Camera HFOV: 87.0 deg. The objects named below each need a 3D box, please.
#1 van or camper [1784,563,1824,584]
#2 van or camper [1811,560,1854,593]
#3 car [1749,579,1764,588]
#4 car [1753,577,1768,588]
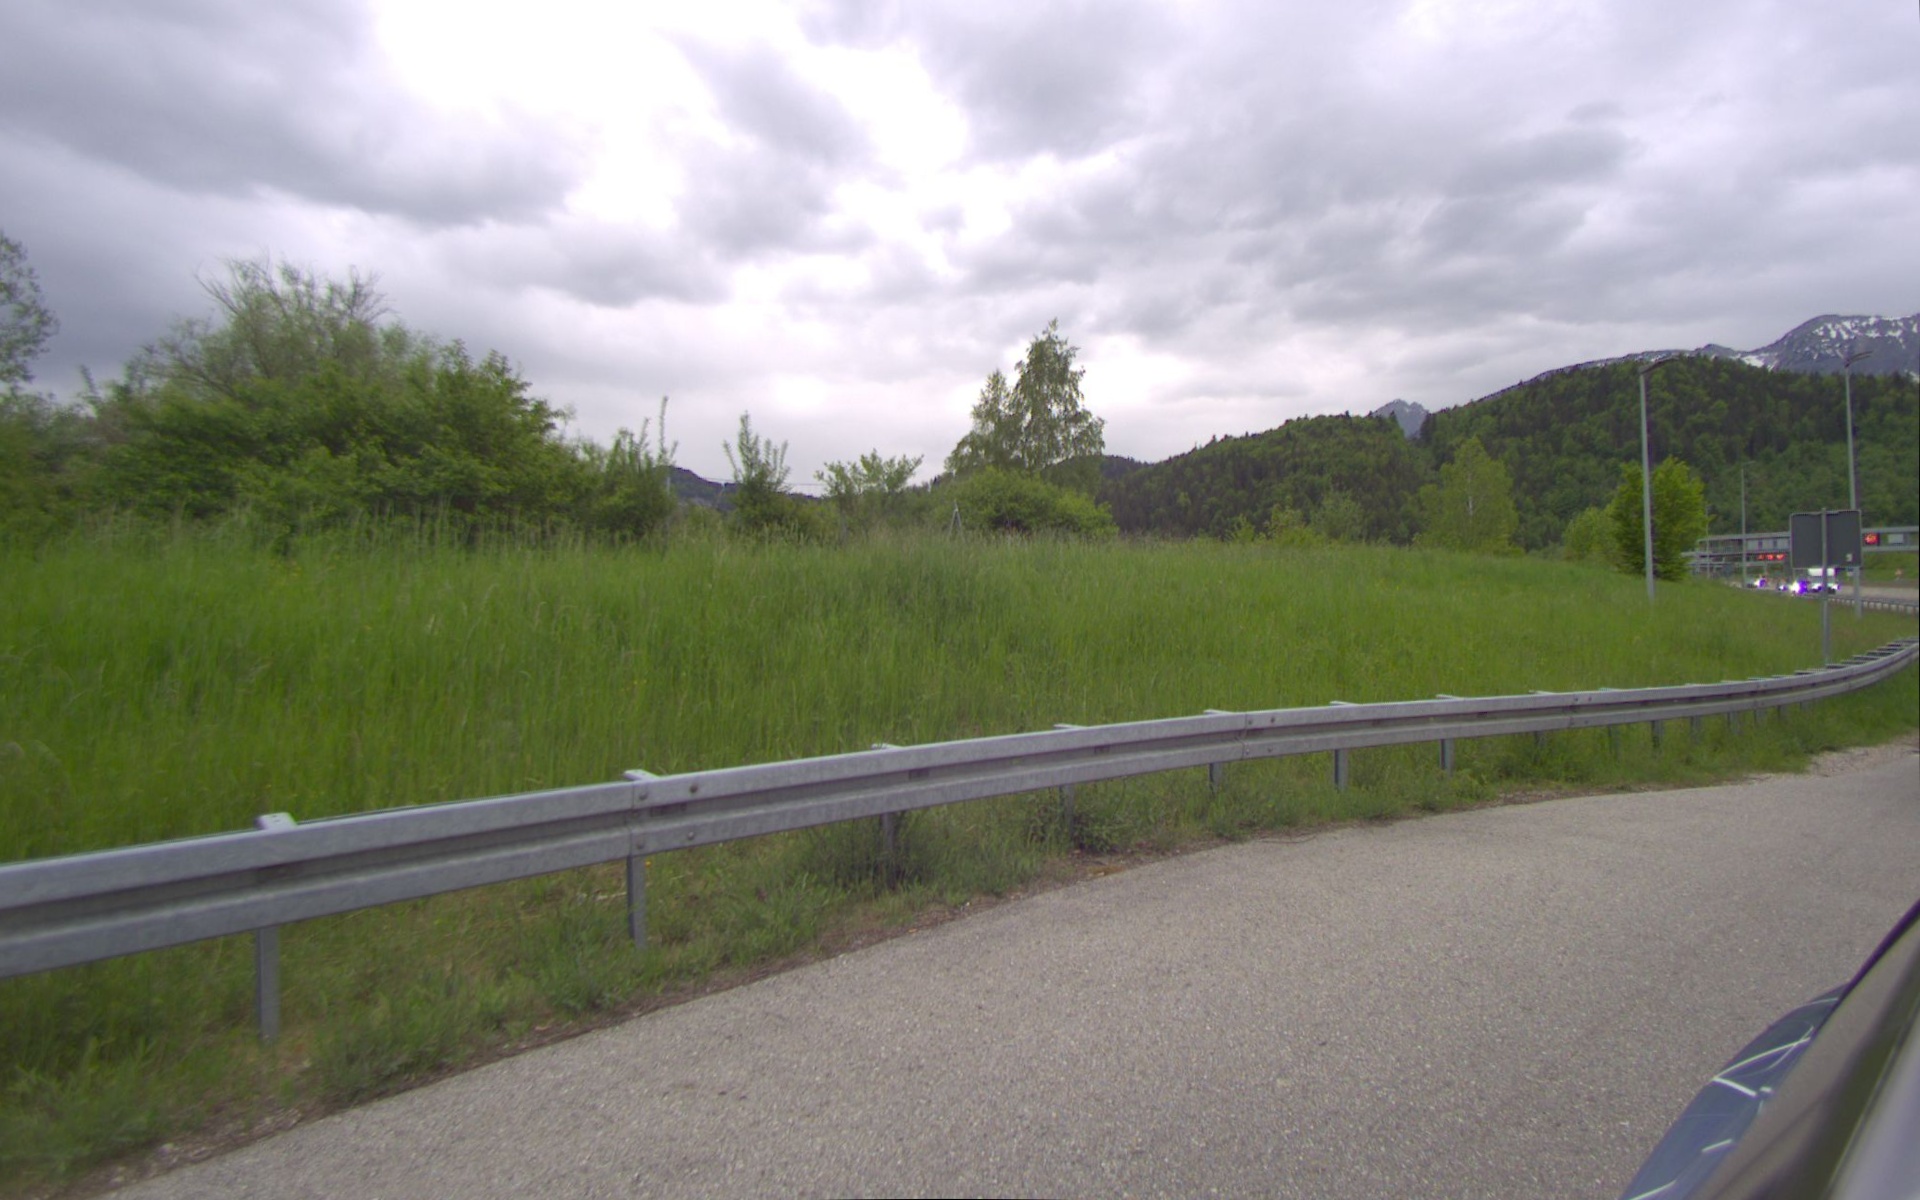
[{"bbox_3d":[112.577,-3.494,135.078,3.322,2.677,8.098,1,1,35],"label":"van or camper"},{"bbox_3d":[94.566,-2.515,109.784,2.565,3.434,7.269,1,1,33],"label":"van or camper"},{"bbox_3d":[140.018,-2.919,178.011,1.709,1.659,4.296,1,1,34],"label":"car"},{"bbox_3d":[140.134,-3.069,177.170,1.858,1.895,3.946,1,1,37],"label":"car"}]
